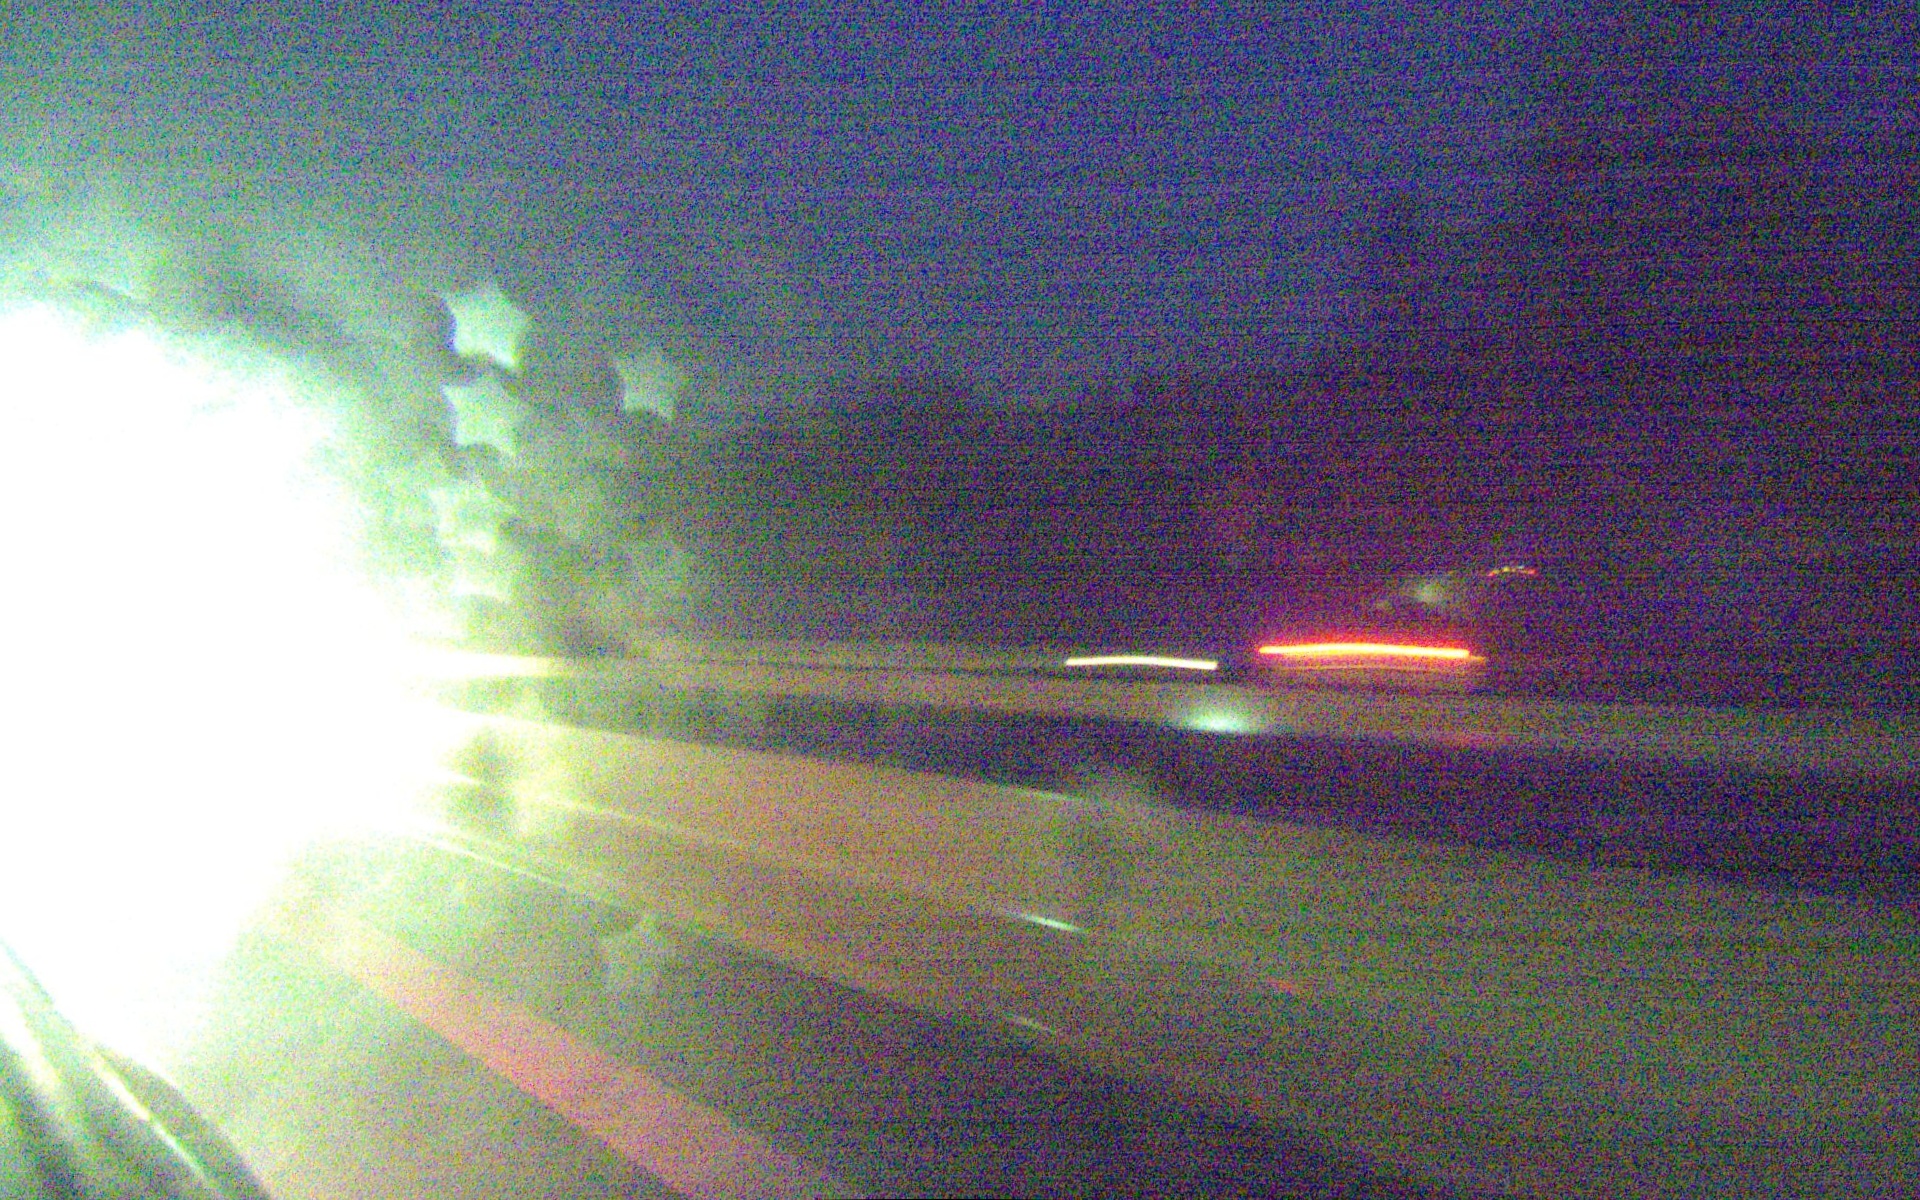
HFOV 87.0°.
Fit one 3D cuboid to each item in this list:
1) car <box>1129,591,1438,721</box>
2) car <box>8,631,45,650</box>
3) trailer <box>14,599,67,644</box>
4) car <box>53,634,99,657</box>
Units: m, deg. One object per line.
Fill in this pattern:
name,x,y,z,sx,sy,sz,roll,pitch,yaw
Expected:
car,5.134,0.820,16.360,4.285,1.732,1.974,-1,2,41
car,-84.591,3.662,91.733,4.669,1.536,1.973,-1,2,42
trailer,-100.596,2.317,110.603,13.715,4.578,2.595,-1,2,41
car,-65.528,3.344,75.003,4.669,1.536,1.973,-1,2,42
